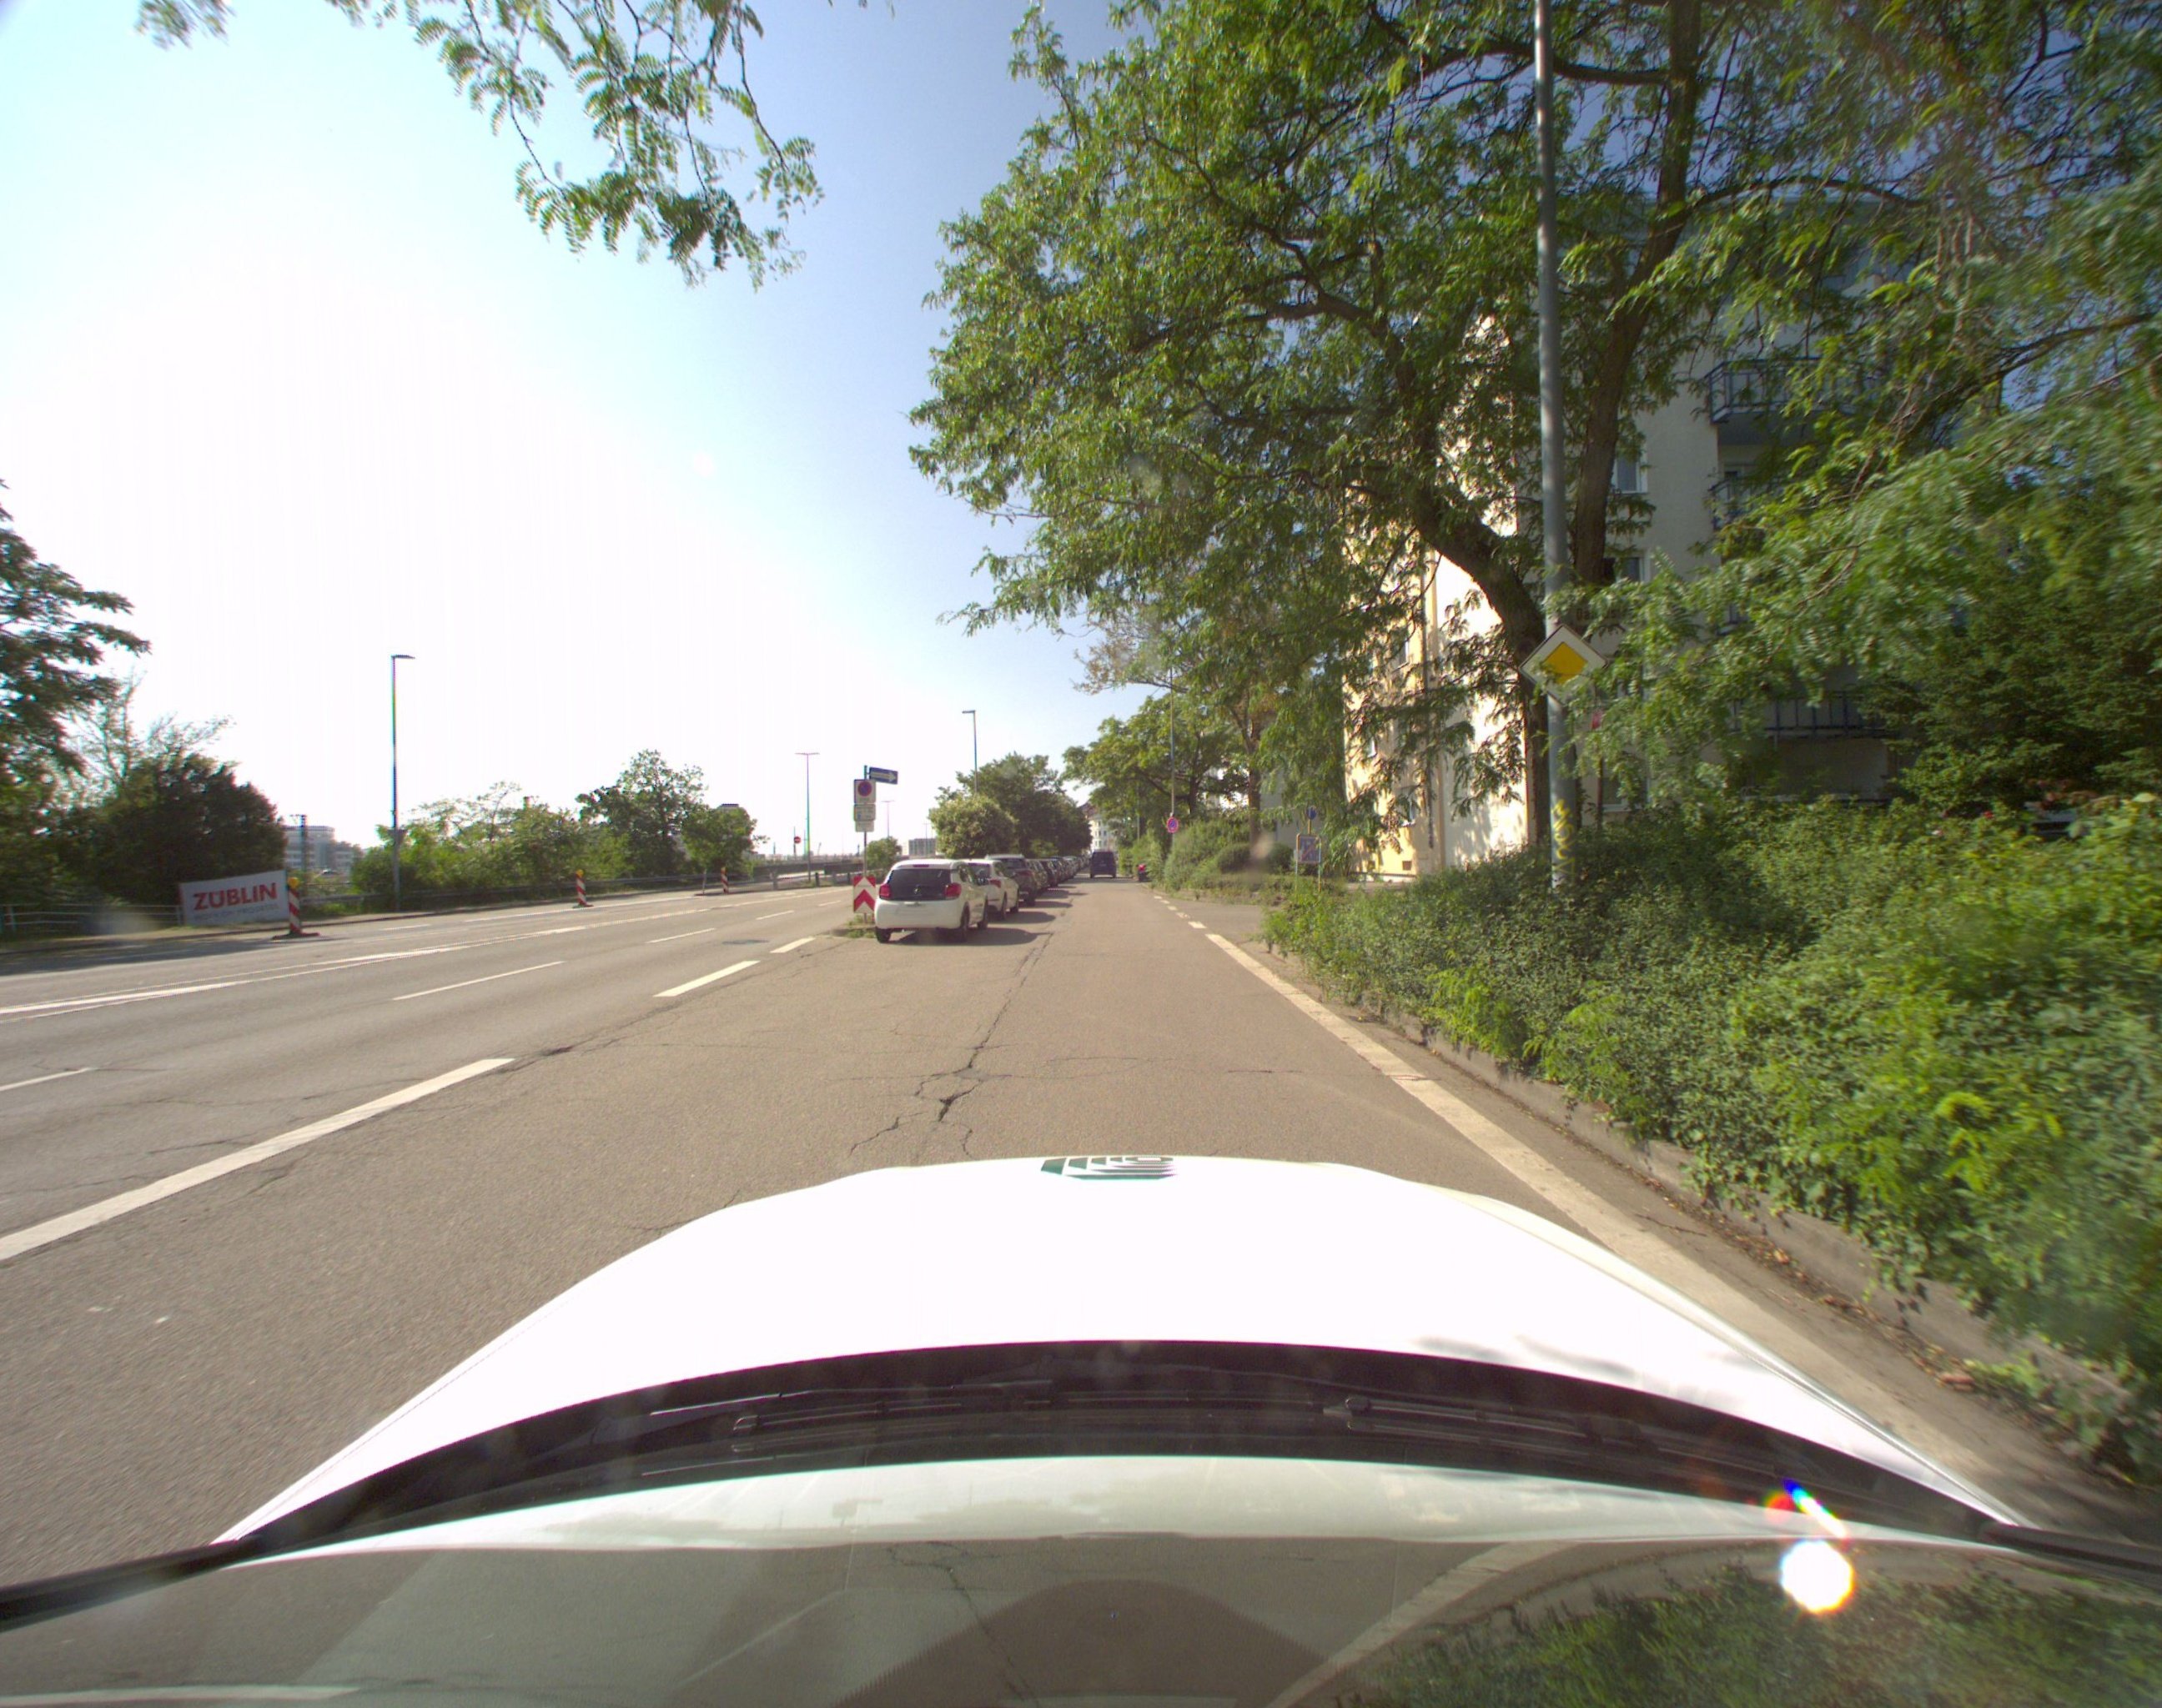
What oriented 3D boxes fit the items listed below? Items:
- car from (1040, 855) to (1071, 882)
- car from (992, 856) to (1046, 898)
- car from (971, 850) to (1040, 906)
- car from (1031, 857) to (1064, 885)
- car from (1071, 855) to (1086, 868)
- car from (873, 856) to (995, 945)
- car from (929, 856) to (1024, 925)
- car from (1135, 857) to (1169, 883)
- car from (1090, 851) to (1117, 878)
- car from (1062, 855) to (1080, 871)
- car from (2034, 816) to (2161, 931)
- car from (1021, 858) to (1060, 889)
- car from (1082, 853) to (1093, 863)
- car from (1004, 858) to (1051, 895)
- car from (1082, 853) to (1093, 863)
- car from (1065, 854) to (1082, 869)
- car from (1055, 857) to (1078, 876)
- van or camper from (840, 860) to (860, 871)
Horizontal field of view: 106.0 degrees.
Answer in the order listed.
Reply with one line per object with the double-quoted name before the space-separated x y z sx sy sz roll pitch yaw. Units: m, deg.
"car" -1.612 0.896 52.337 1.657 1.583 3.933 -2 0 2
"car" -2.358 0.837 31.703 1.657 1.474 3.878 1 0 2
"car" -2.318 0.700 26.032 1.766 1.579 4.186 -2 1 0
"car" -1.921 0.984 47.670 1.657 1.511 3.791 0 0 2
"car" -0.316 0.916 100.694 1.657 1.509 4.010 0 0 2
"car" -2.754 0.818 15.961 1.613 1.505 3.463 -1 0 2
"car" -2.521 0.825 20.549 1.714 1.505 4.134 0 0 2
"car" 4.217 0.914 48.774 1.720 1.420 4.001 -3 0 1
"car" 1.638 0.730 59.295 1.876 1.921 4.010 0 0 2
"car" -1.025 0.916 84.496 1.657 1.509 4.010 0 0 2
"car" 16.877 0.246 11.871 3.542 1.654 1.698 -2 -1 36
"car" -2.024 0.950 41.730 1.657 1.473 3.791 0 0 2
"car" 1.323 0.733 153.930 1.987 1.657 4.000 -2 0 1
"car" -2.347 0.974 36.838 1.657 1.511 4.596 0 0 2
"car" 1.078 0.602 128.469 1.657 1.509 4.010 -1 0 2
"car" -0.826 0.805 89.607 1.657 1.509 4.010 0 0 2
"car" -1.192 1.024 68.120 1.657 1.468 4.203 0 0 2
"van or camper" -29.731 1.457 104.902 1.464 1.350 4.623 -2 0 -4
